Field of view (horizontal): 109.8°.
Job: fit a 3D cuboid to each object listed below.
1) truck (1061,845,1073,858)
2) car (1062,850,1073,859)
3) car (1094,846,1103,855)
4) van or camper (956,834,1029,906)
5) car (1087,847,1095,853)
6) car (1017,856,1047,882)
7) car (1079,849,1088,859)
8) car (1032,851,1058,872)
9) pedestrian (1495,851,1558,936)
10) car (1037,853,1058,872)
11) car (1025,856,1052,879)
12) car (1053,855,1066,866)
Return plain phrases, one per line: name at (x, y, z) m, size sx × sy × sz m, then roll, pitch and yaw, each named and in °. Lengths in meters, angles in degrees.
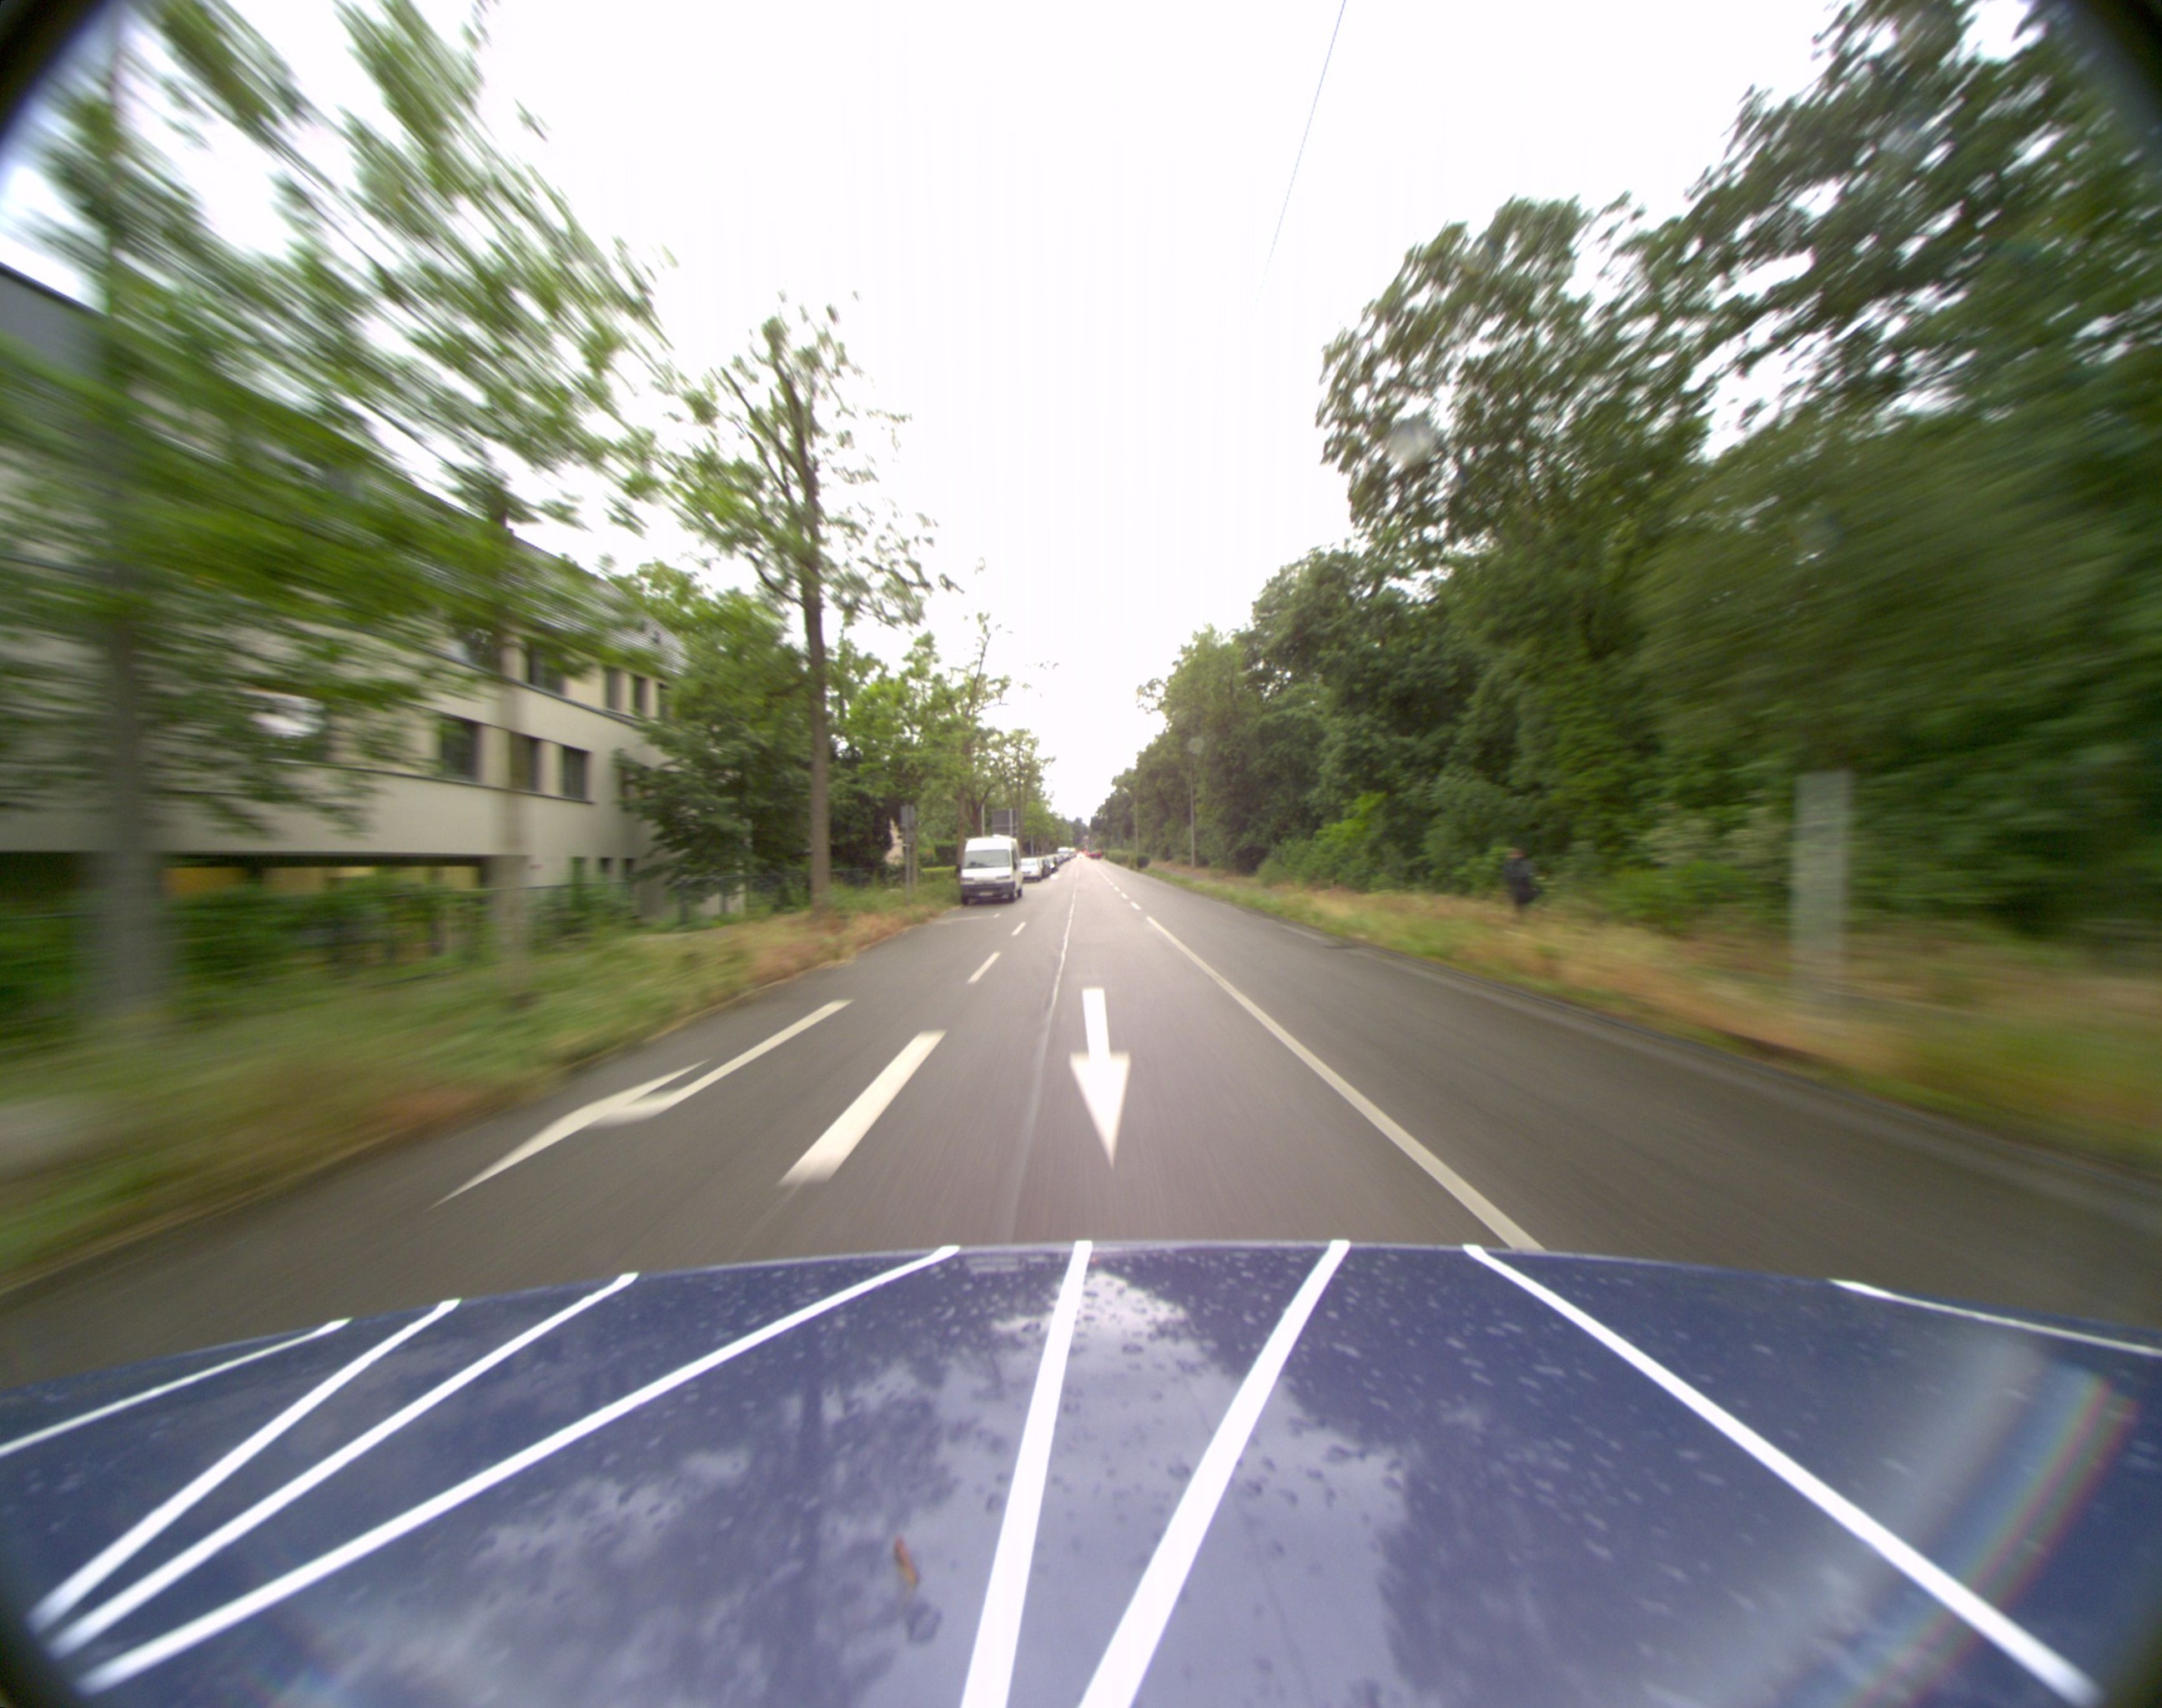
truck at (-2.532, -0.433, 140.121) m, size 2.230 × 2.322 × 5.112 m, roll 0°, pitch 1°, yaw -1°
car at (-2.303, 0.039, 127.846) m, size 1.789 × 1.452 × 3.999 m, roll 0°, pitch 1°, yaw -1°
car at (3.528, -0.719, 154.426) m, size 1.680 × 1.608 × 4.061 m, roll 0°, pitch 1°, yaw -1°
van or camper at (-3.356, 0.551, 29.984) m, size 2.042 × 2.465 × 5.637 m, roll -4°, pitch 1°, yaw 0°
car at (2.496, -1.038, 194.757) m, size 1.851 × 1.490 × 3.999 m, roll 0°, pitch 1°, yaw -1°
car at (-3.139, 0.942, 49.296) m, size 1.575 × 1.464 × 3.764 m, roll -3°, pitch 1°, yaw 1°
car at (0.631, -0.009, 183.448) m, size 1.998 × 2.002 × 3.999 m, roll -2°, pitch 1°, yaw 2°
car at (-2.832, 0.599, 61.285) m, size 1.757 × 1.517 × 4.822 m, roll -3°, pitch 1°, yaw 1°
pedestrian at (8.665, 0.757, 14.804) m, size 0.783 × 1.598 × 0.732 m, roll -1°, pitch 1°, yaw -1°
car at (-2.874, 0.693, 66.454) m, size 1.621 × 1.459 × 4.409 m, roll -3°, pitch 1°, yaw -1°
car at (-3.073, 0.952, 55.124) m, size 1.621 × 1.462 × 3.943 m, roll -3°, pitch 1°, yaw 1°
car at (-2.992, 0.860, 105.132) m, size 1.675 × 1.420 × 3.699 m, roll -3°, pitch 1°, yaw 0°
